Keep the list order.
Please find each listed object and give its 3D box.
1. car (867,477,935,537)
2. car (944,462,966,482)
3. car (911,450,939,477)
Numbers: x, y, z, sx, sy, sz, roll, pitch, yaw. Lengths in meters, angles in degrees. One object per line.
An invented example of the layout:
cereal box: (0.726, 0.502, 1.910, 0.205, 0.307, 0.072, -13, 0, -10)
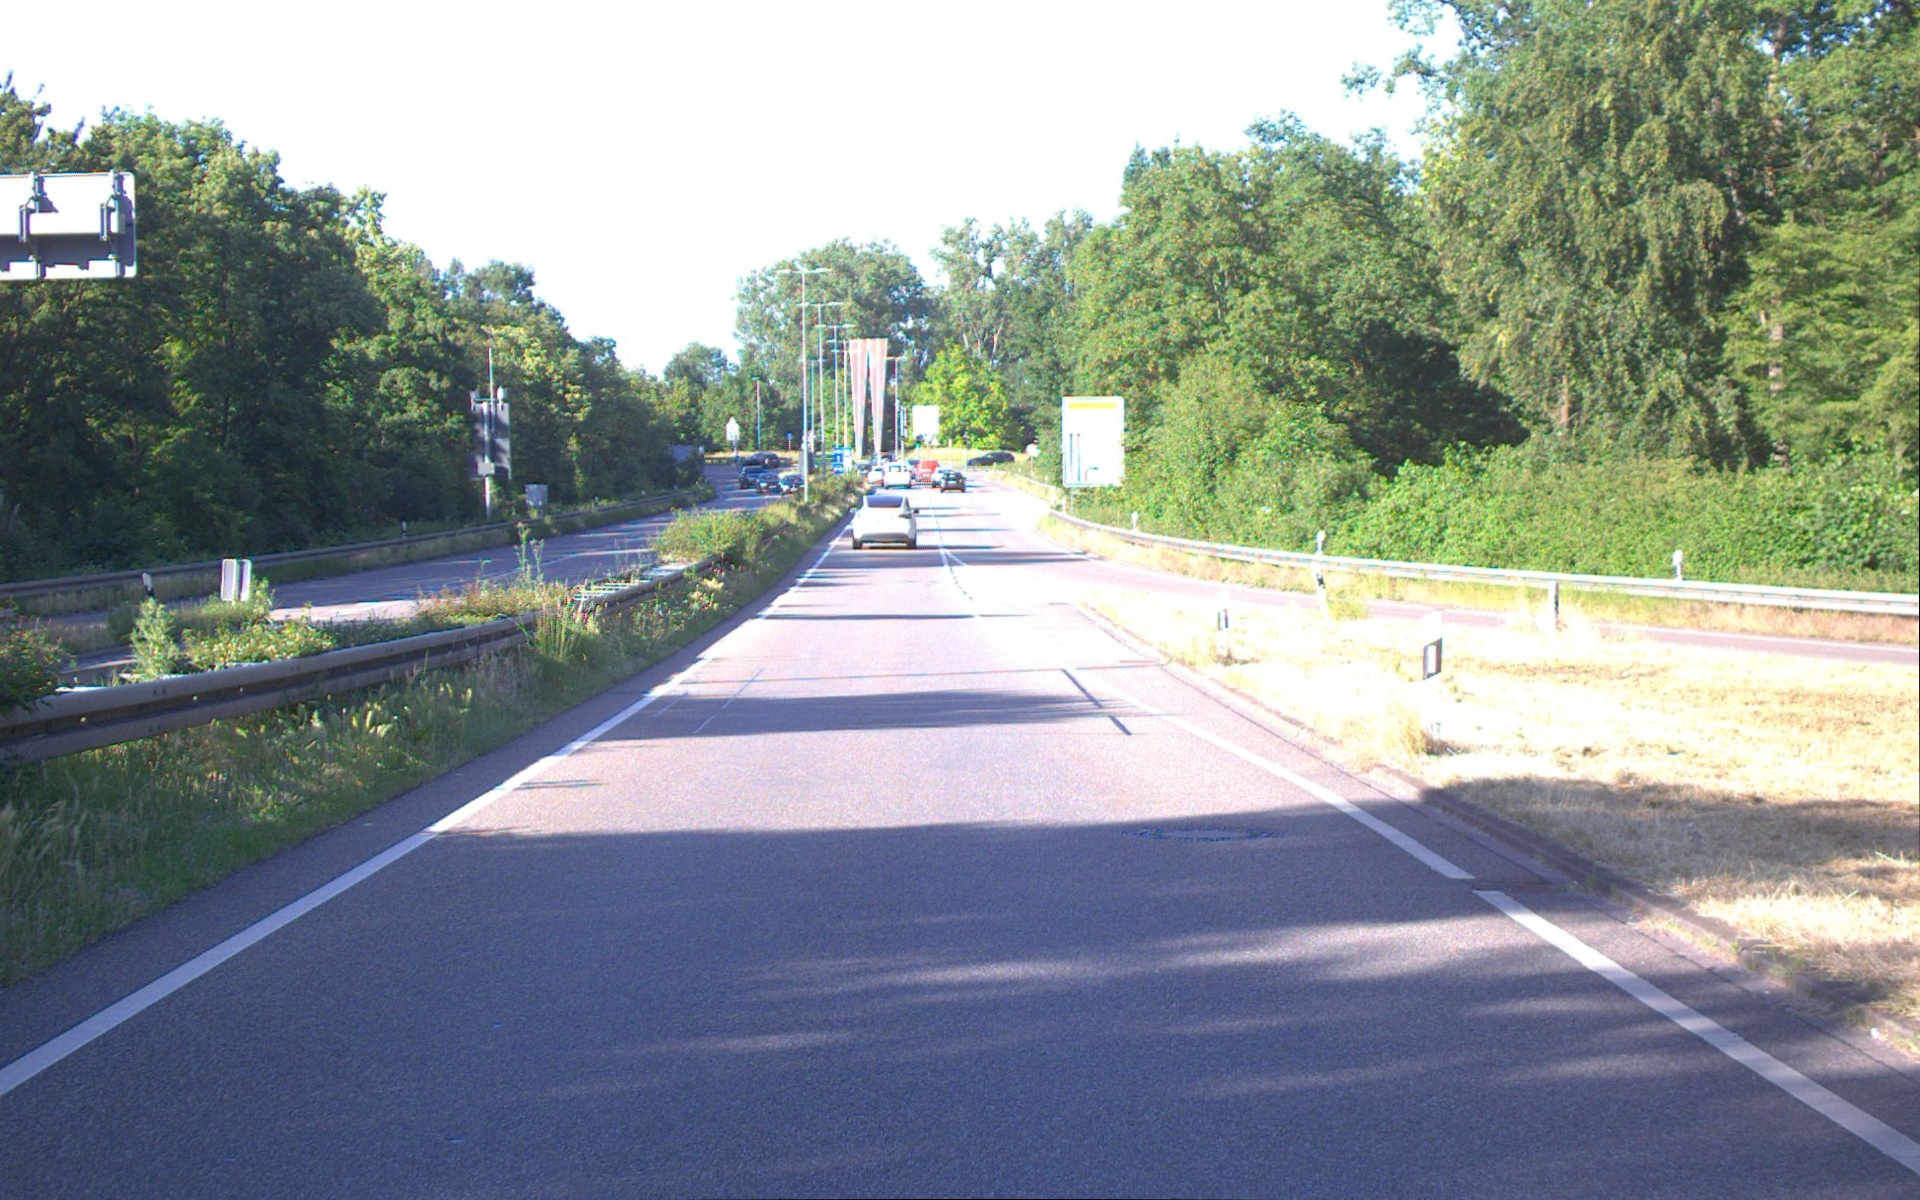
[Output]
car: (-1.794, -2.833, 104.402, 1.993, 1.634, 4.129, -1, 3, -1)
car: (-0.352, -8.819, 236.559, 1.388, 1.276, 2.988, 2, 1, -1)
car: (-2.586, -10.107, 254.379, 1.993, 1.873, 4.250, -1, 3, -1)
